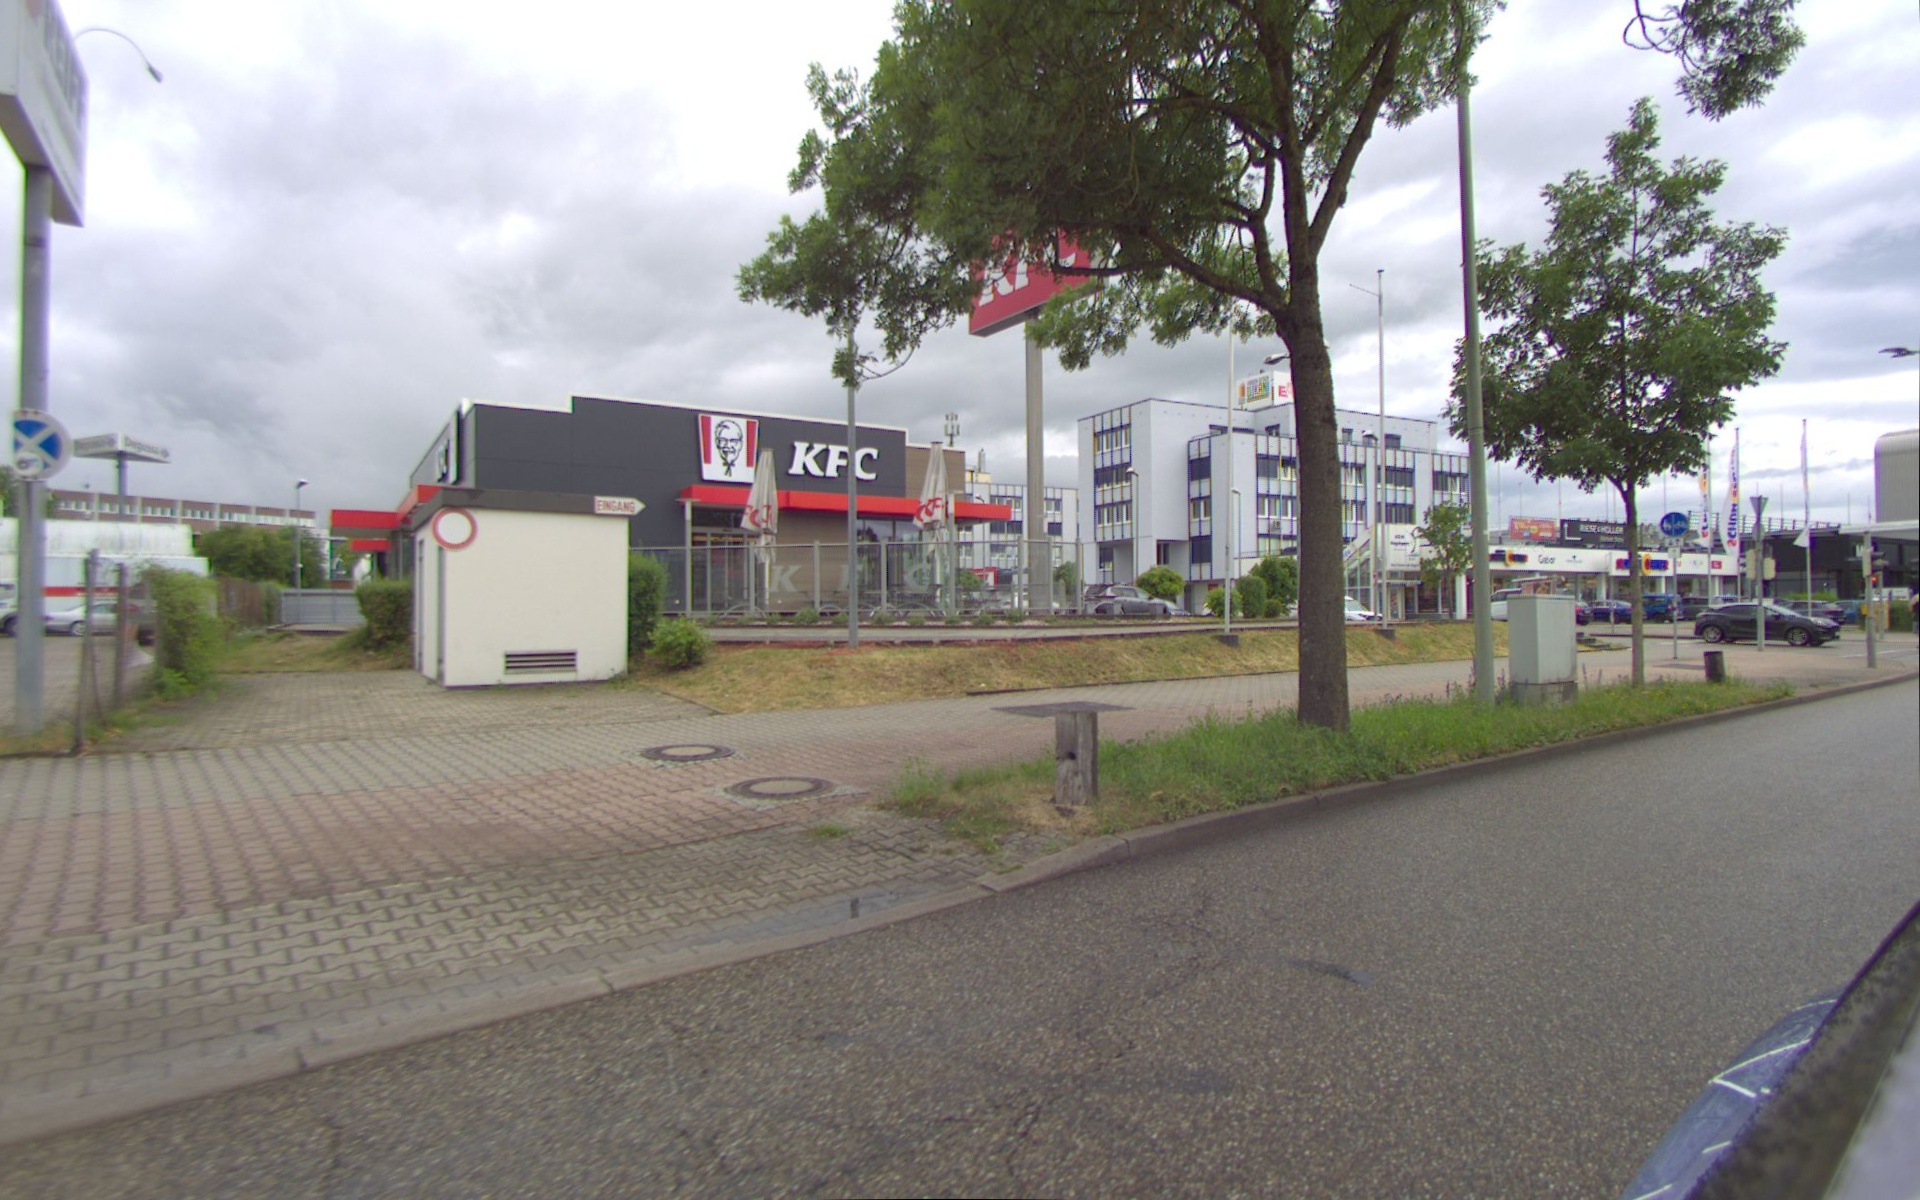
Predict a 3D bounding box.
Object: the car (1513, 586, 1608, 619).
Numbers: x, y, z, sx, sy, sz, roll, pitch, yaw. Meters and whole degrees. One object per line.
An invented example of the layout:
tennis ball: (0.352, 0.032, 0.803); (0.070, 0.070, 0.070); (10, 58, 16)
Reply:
car: (34.376, 0.115, 58.020); (1.858, 1.843, 4.381); (0, 0, -28)

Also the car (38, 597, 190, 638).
car: (-35.378, 0.721, 42.507); (4.772, 1.619, 1.839); (0, -1, -37)

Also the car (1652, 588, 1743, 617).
car: (47.359, 0.160, 65.082); (1.858, 1.786, 4.381); (0, 0, -28)

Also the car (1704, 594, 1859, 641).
car: (29.440, 0.574, 36.352); (1.781, 1.559, 3.999); (-1, 1, -36)

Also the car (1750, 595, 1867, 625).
car: (42.537, 0.463, 50.845); (1.786, 1.411, 4.134); (0, 0, -25)

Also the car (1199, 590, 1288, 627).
car: (13.676, 0.367, 48.984); (1.788, 1.730, 4.003); (0, 0, -31)

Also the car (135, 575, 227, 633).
car: (-23.166, 0.084, 30.233); (1.866, 1.620, 3.873); (0, 1, -33)

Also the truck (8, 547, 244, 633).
truck: (-37.260, -0.410, 45.576); (8.023, 3.573, 2.277); (0, -2, -41)

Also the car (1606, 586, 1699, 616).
car: (42.965, 0.068, 62.892); (1.858, 1.786, 4.381); (0, 0, -28)

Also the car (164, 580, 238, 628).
car: (-27.404, 0.116, 36.624); (1.866, 1.620, 3.873); (0, 1, -33)

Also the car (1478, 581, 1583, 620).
car: (31.667, 0.010, 56.306); (1.959, 2.039, 4.794); (1, 0, -27)

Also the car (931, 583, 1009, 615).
car: (0.560, -0.062, 57.509); (4.105, 1.797, 1.882); (0, 1, -35)

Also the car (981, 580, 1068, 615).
car: (3.435, -0.112, 53.325); (4.418, 1.762, 1.892); (1, 0, -37)

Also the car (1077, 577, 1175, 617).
car: (7.742, -0.126, 47.075); (4.416, 1.762, 1.893); (0, 0, -34)

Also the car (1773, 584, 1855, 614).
car: (60.178, -0.052, 71.367); (1.871, 2.039, 4.007); (0, 0, -25)

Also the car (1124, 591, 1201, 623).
car: (10.728, 0.334, 53.777); (1.788, 1.619, 4.003); (0, 0, -31)

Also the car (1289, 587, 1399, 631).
car: (16.706, 0.363, 44.192); (1.763, 1.806, 4.252); (3, -1, -32)

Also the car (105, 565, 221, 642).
car: (-19.616, 0.053, 25.060); (1.866, 1.723, 4.180); (0, 1, -33)

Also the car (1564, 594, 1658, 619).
car: (38.531, 0.366, 60.014); (1.786, 1.411, 4.381); (0, 0, -28)

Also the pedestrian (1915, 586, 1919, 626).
pedestrian: (43.595, 0.286, 45.436); (0.805, 1.796, 0.693); (1, 1, 19)
